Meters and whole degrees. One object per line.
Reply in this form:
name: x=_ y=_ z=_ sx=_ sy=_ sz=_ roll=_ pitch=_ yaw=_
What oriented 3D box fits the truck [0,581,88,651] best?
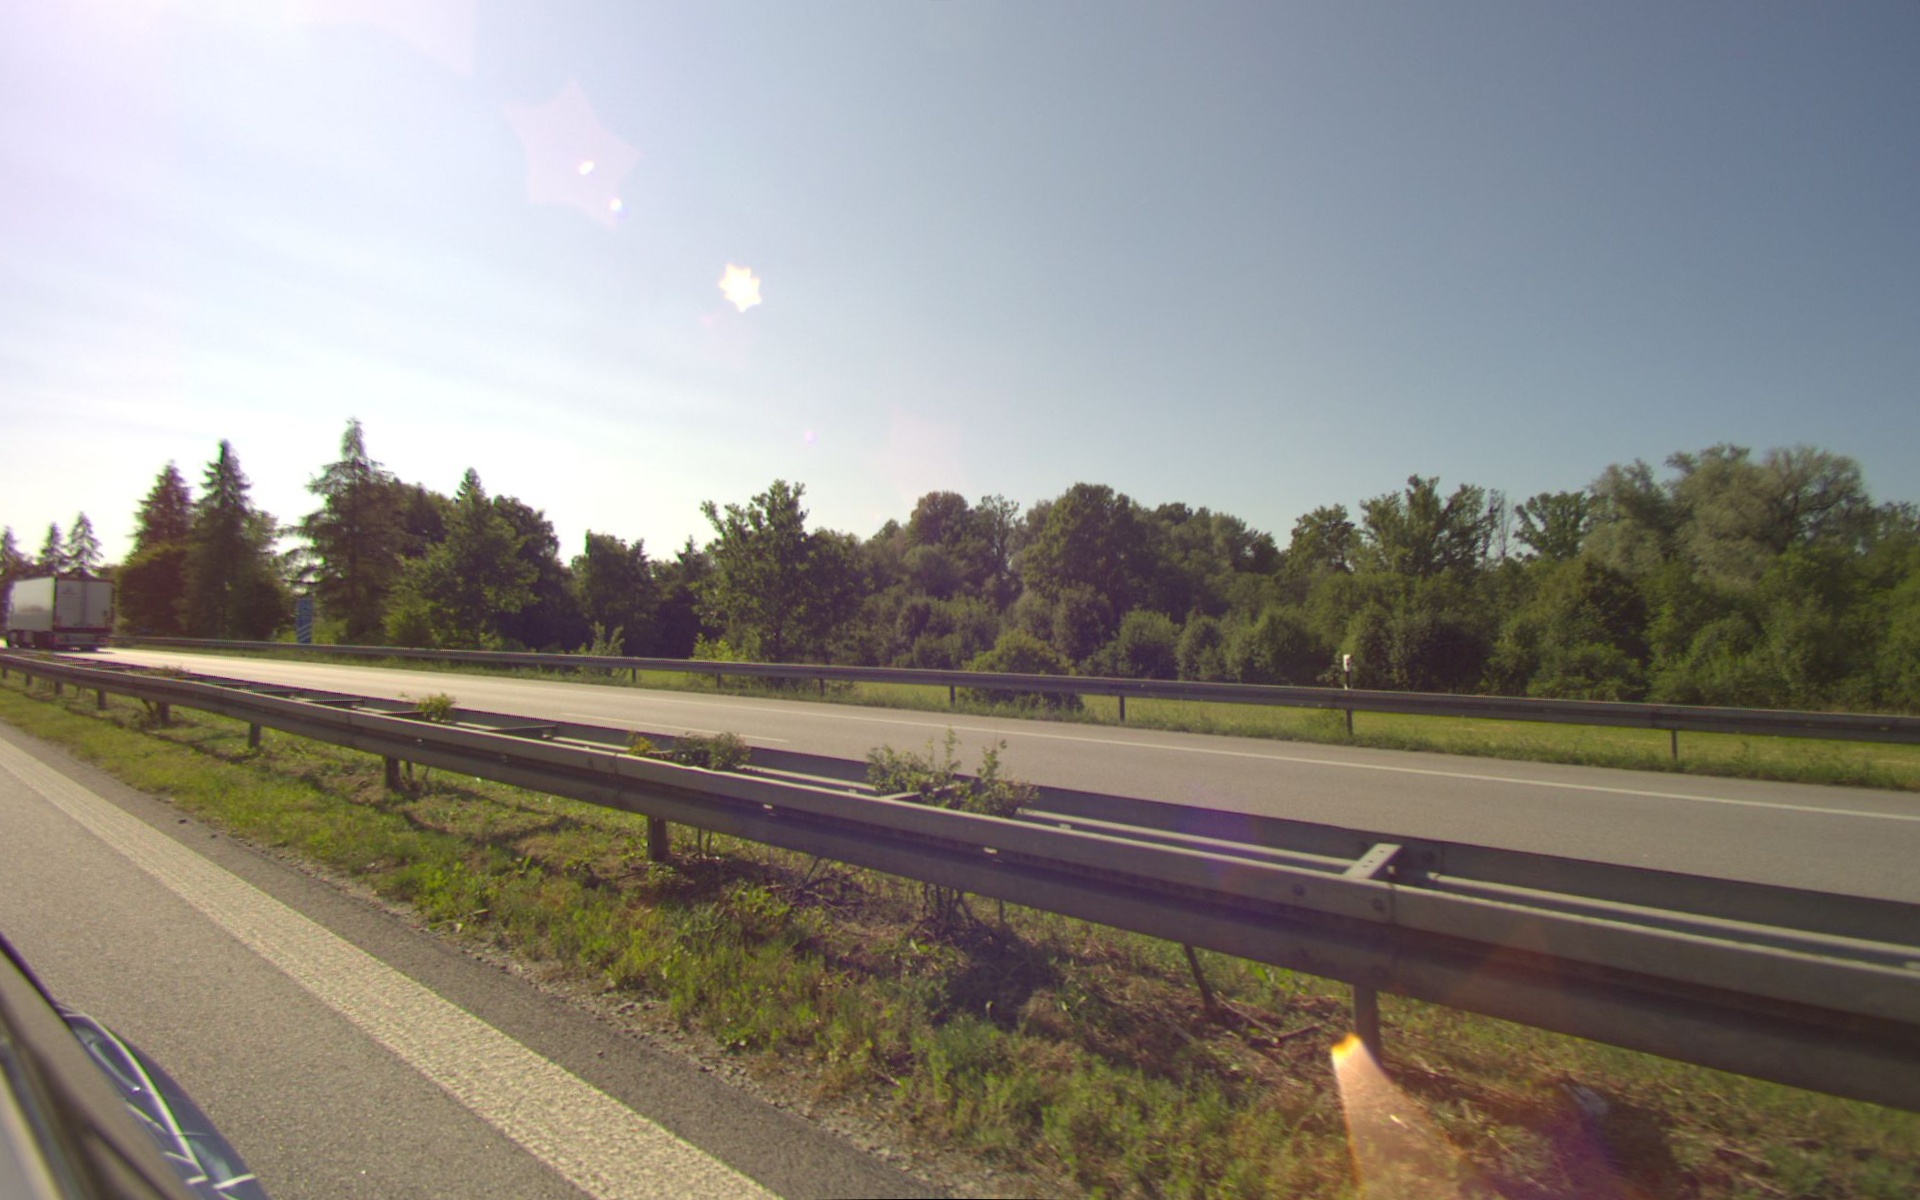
truck: x=-57.766 y=1.049 z=63.636 sx=7.730 sy=4.133 sz=3.124 roll=-1 pitch=-3 yaw=41

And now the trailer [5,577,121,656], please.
trailer: x=-52.498 y=1.065 z=59.057 sx=13.432 sy=4.156 sz=3.118 roll=-1 pitch=-3 yaw=41
